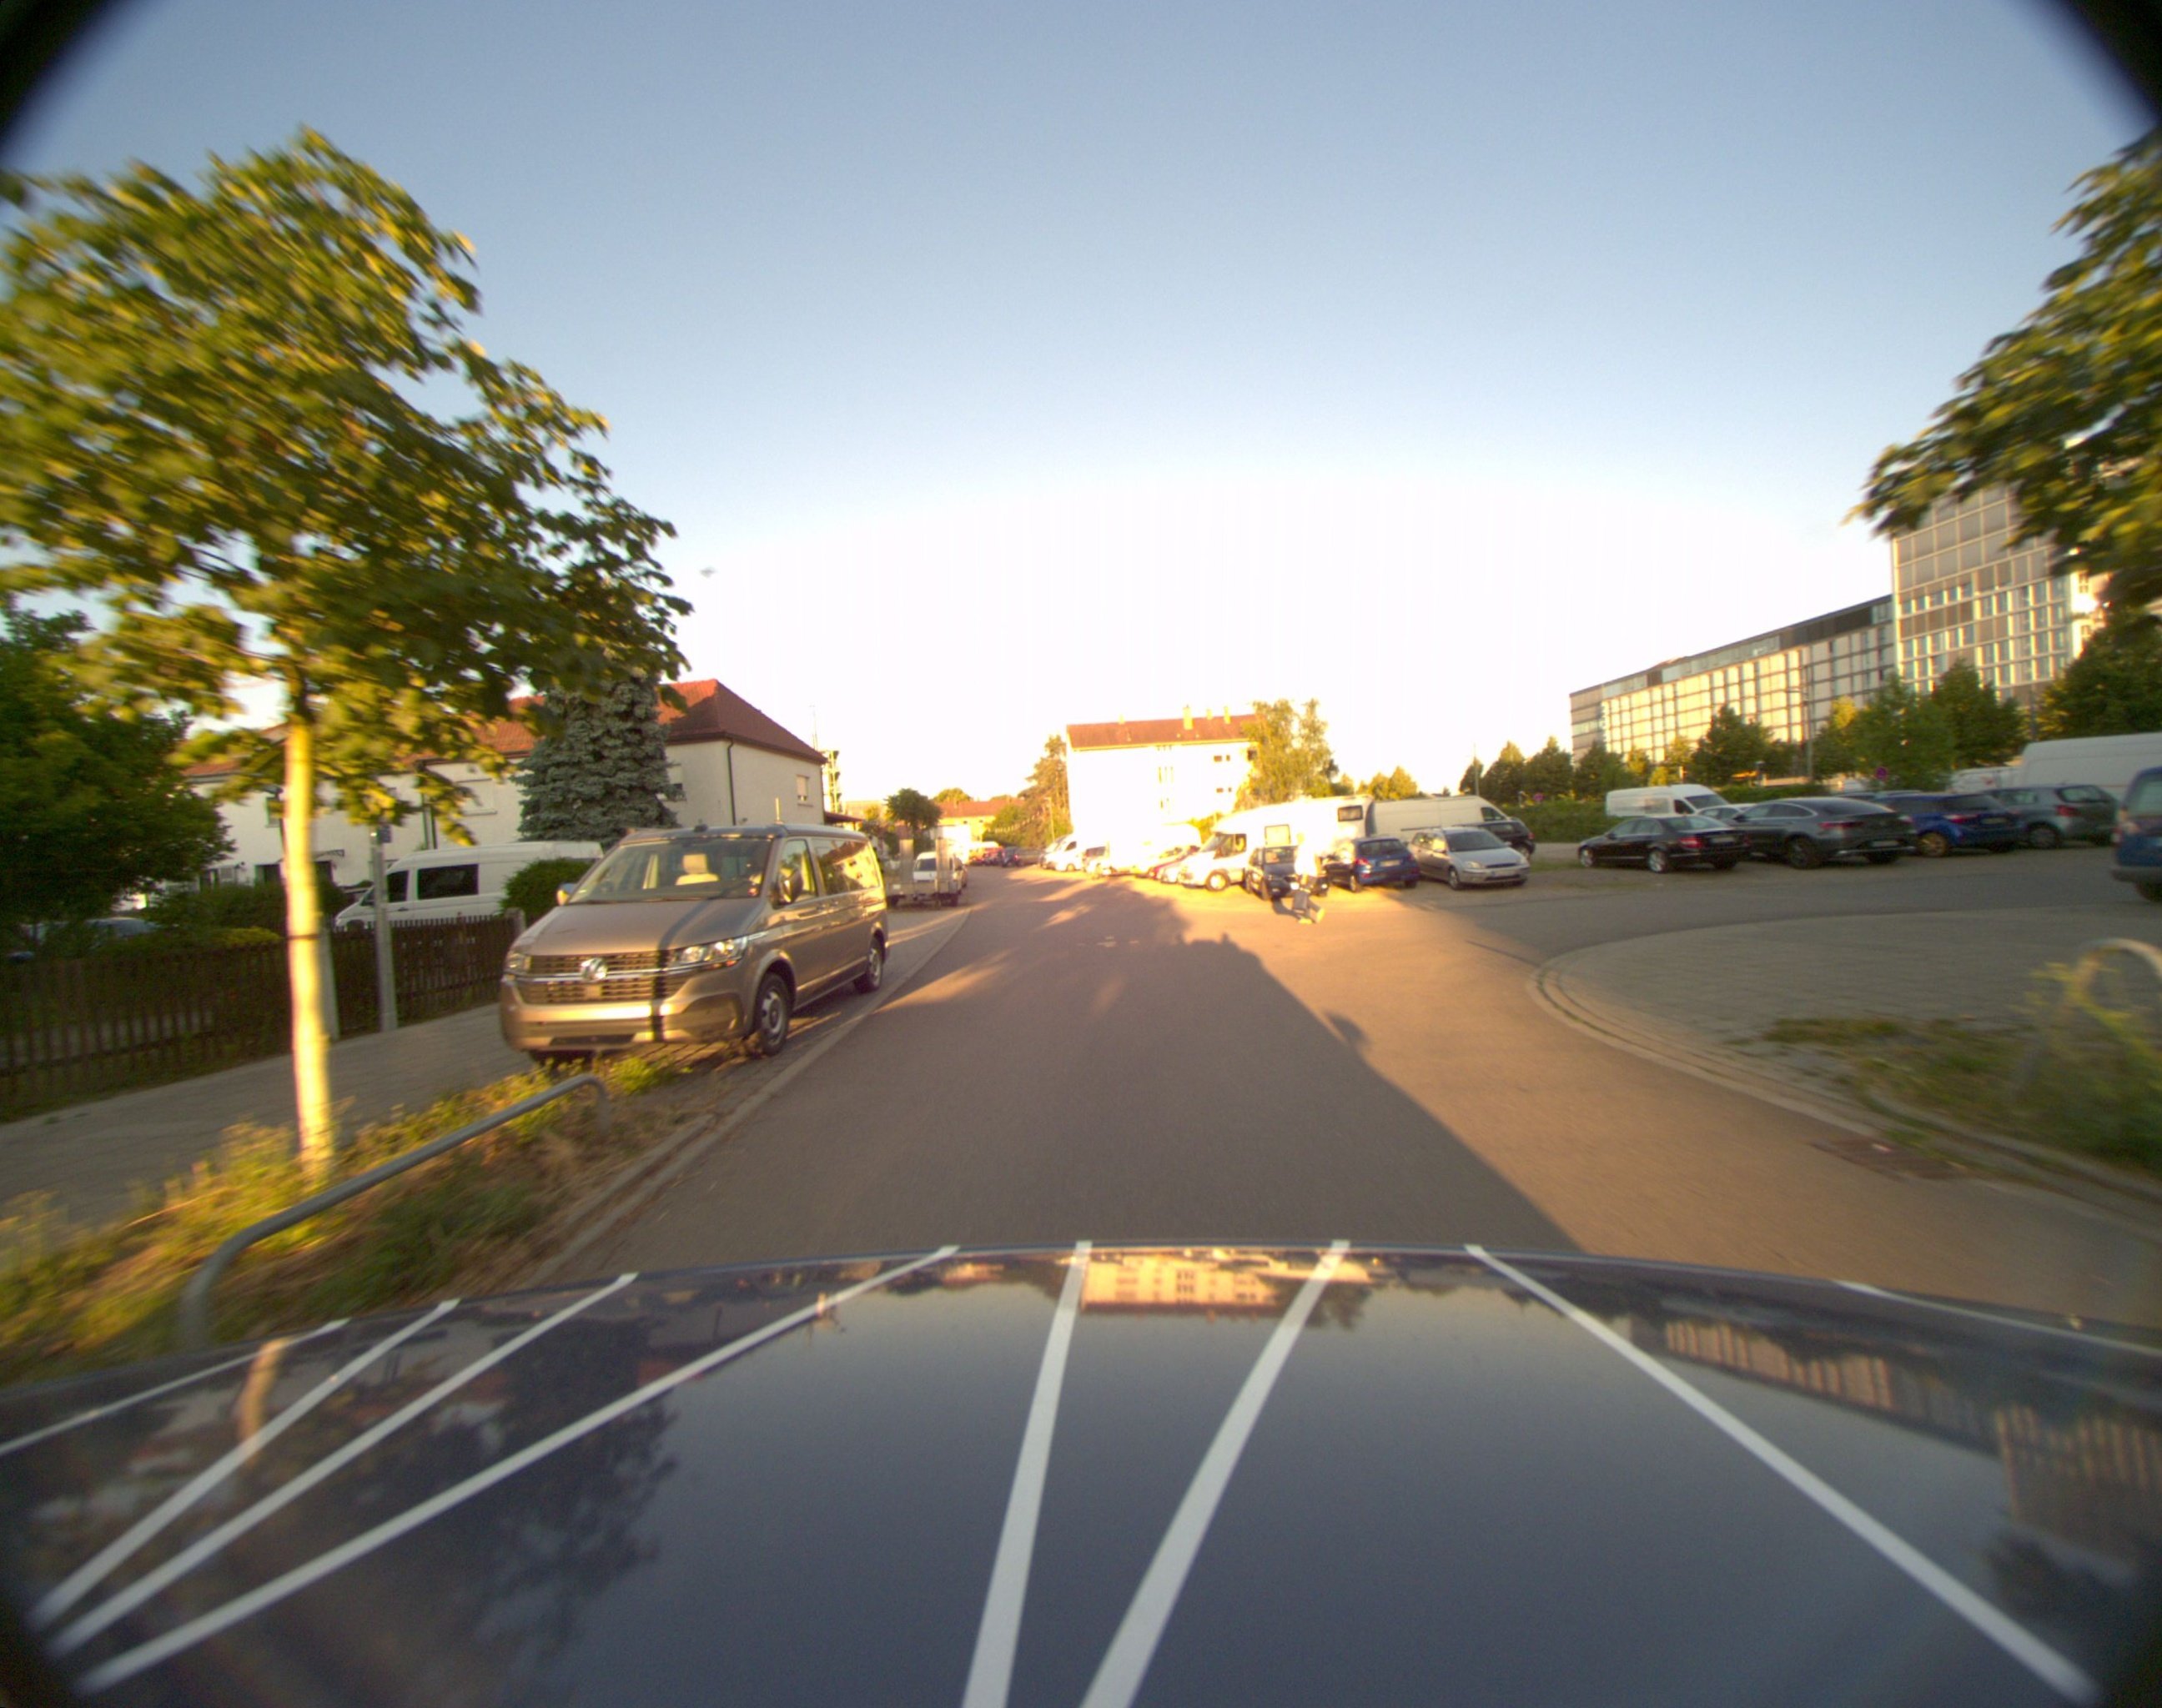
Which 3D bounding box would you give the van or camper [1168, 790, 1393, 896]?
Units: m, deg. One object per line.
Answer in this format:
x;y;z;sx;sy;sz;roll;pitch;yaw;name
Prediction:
6.614;-0.385;25.657;6.759;2.881;2.407;-4;1;-4;van or camper

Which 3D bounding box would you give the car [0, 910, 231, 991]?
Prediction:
-23.696;2.312;18.460;4.132;1.469;1.741;-4;3;3;car

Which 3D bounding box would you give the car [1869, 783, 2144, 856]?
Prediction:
22.840;-0.913;19.075;1.667;1.492;4.297;-5;4;0;car

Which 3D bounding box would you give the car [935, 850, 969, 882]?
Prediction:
-7.654;0.673;44.905;1.812;1.715;4.923;-2;1;-11;car

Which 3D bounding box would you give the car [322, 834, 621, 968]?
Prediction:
-14.327;1.089;18.042;5.575;2.676;2.054;-4;-1;6;car

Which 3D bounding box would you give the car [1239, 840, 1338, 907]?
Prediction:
5.638;0.450;21.194;1.690;1.510;4.361;-5;2;3;car

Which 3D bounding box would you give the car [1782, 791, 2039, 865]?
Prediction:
20.468;-0.725;19.087;1.667;1.492;4.402;-5;4;0;car

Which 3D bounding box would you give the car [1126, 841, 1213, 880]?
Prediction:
4.174;0.280;35.973;3.640;1.510;1.704;-5;1;-11;car

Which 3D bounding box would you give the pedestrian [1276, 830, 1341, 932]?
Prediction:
4.350;0.503;14.571;0.901;1.839;0.856;-3;1;1;pedestrian

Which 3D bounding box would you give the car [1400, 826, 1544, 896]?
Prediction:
10.177;0.104;20.178;1.666;1.472;4.202;-5;3;2;car

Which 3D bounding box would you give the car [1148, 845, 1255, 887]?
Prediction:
4.822;0.447;30.582;3.820;1.321;1.691;-5;1;-10;car

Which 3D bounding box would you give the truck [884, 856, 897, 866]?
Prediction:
-43.461;1.522;173.161;1.844;2.090;3.733;-7;2;-25;truck

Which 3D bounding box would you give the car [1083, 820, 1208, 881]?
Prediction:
3.270;-0.223;39.260;5.906;2.520;2.409;-6;2;-7;car

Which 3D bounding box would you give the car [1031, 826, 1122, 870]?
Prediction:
-0.346;-0.483;58.388;6.412;2.698;2.109;-6;3;-20;car

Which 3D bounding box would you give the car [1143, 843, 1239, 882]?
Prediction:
4.789;0.360;33.356;3.738;1.359;1.704;-5;1;-11;car

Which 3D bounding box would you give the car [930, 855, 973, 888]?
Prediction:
-6.618;0.862;39.287;1.709;1.510;4.086;-3;1;-4;car

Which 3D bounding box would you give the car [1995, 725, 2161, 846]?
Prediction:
26.098;-1.643;17.337;2.212;2.787;6.980;-4;3;1;car

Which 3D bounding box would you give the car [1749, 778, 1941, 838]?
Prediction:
24.225;-1.384;24.362;1.667;1.612;4.404;-5;1;0;car

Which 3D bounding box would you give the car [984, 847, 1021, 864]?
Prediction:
-9.109;0.187;88.111;4.049;1.611;1.848;-4;1;-9;car

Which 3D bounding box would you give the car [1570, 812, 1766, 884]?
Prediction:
15.031;-0.258;19.813;1.667;1.472;4.402;-5;4;0;car

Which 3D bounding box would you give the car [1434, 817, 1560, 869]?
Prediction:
14.349;-0.382;26.310;3.447;1.439;1.514;-5;1;-3;car

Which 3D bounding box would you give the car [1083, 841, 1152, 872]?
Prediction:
2.222;0.141;46.984;3.937;1.582;1.747;-4;1;-5;car

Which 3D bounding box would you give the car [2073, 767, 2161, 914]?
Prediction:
15.374;-0.298;9.195;4.095;1.820;1.848;-4;-1;2;car

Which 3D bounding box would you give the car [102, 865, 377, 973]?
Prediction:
-23.012;1.726;20.907;5.575;2.499;2.054;-4;-1;6;car

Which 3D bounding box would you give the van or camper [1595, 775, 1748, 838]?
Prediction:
29.310;-2.232;38.114;2.020;2.675;6.636;-5;1;-4;van or camper

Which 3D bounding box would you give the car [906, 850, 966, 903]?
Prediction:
-5.606;0.805;29.858;1.776;1.820;4.405;-3;1;-5;car

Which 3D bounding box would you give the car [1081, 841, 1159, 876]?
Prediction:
2.238;0.214;44.003;4.140;1.582;1.746;-6;2;-12;car

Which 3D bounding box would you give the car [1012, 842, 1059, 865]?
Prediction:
-4.137;-0.030;69.007;3.938;1.643;1.746;-6;1;-10;car

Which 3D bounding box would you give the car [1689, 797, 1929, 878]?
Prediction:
17.488;-0.503;18.608;1.667;1.613;4.402;-5;4;0;car

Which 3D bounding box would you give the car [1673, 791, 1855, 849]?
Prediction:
21.098;-0.979;23.770;1.667;1.491;4.405;-5;1;0;car

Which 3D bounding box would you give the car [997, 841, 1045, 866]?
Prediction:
-5.610;-0.059;71.236;3.942;1.900;1.745;-6;2;-26;car

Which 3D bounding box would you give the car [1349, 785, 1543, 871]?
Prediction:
13.877;-0.999;29.142;6.259;2.658;2.222;-5;1;-3;car

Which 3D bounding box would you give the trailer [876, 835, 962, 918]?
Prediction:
-4.875;0.601;23.620;2.070;2.199;5.219;-3;1;-7;trailer

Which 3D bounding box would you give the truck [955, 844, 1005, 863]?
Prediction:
-13.178;-0.031;99.190;6.034;2.031;2.352;-4;1;-15;truck

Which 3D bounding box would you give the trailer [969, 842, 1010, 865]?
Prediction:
-11.612;-0.094;96.641;4.808;2.419;2.131;-5;3;-12;trailer

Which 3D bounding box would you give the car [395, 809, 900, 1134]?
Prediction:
-3.480;0.770;7.528;2.070;2.083;4.871;-3;1;0;car

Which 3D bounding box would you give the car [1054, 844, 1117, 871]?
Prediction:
0.286;0.213;51.509;3.939;1.499;1.787;-5;2;-12;car

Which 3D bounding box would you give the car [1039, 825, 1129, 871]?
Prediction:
0.207;-0.443;54.132;5.846;2.698;2.048;-6;2;-15;car

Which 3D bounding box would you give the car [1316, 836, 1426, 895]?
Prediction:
7.994;0.267;21.311;1.666;1.414;3.721;-4;1;2;car
